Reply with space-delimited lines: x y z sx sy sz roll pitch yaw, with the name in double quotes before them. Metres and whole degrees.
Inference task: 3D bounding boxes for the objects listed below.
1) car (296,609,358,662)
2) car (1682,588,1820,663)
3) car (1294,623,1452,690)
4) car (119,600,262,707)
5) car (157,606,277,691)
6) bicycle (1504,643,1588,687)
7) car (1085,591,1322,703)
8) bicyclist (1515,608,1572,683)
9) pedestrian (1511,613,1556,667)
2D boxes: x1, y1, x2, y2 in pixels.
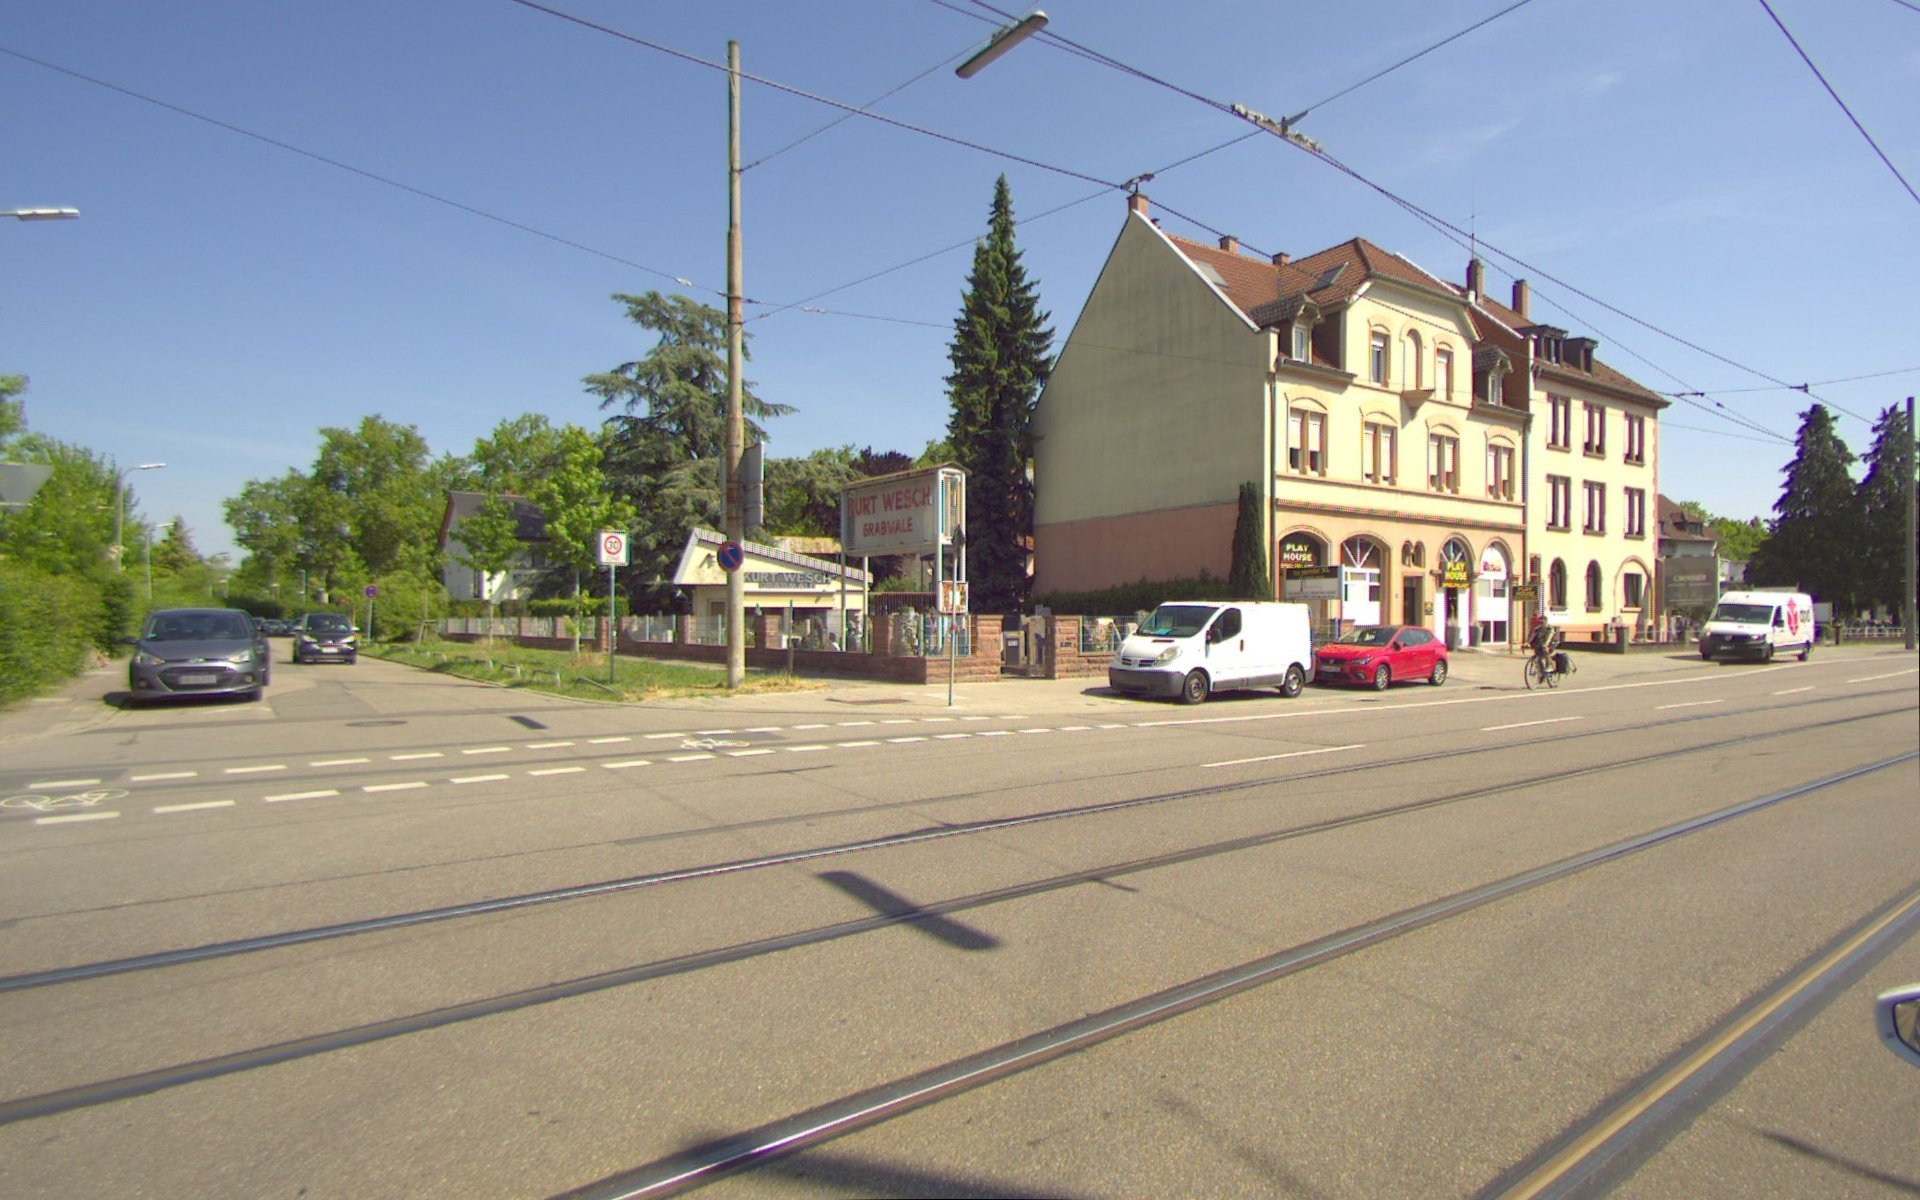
"car" -19.608 1.065 31.068 1.465 1.559 2.947 0 -1 -35
"car" 29.691 0.911 37.637 6.442 2.570 2.314 1 1 -36
"car" 9.933 1.285 24.071 3.962 1.425 1.708 1 0 -36
"car" -12.623 0.821 16.540 1.690 1.548 3.657 1 -2 -38
"car" -15.125 0.924 20.442 1.799 1.539 4.124 1 -1 -37
"bicycle" 13.860 1.530 23.752 2.134 0.996 0.607 1 -2 -25
"car" 5.060 0.890 20.619 4.859 2.040 2.070 1 0 -35
"bicyclist" 13.789 1.060 23.734 0.974 1.747 0.714 0 -1 -23
"pedestrian" 20.100 1.380 35.205 1.115 1.839 0.939 0 -1 -27
